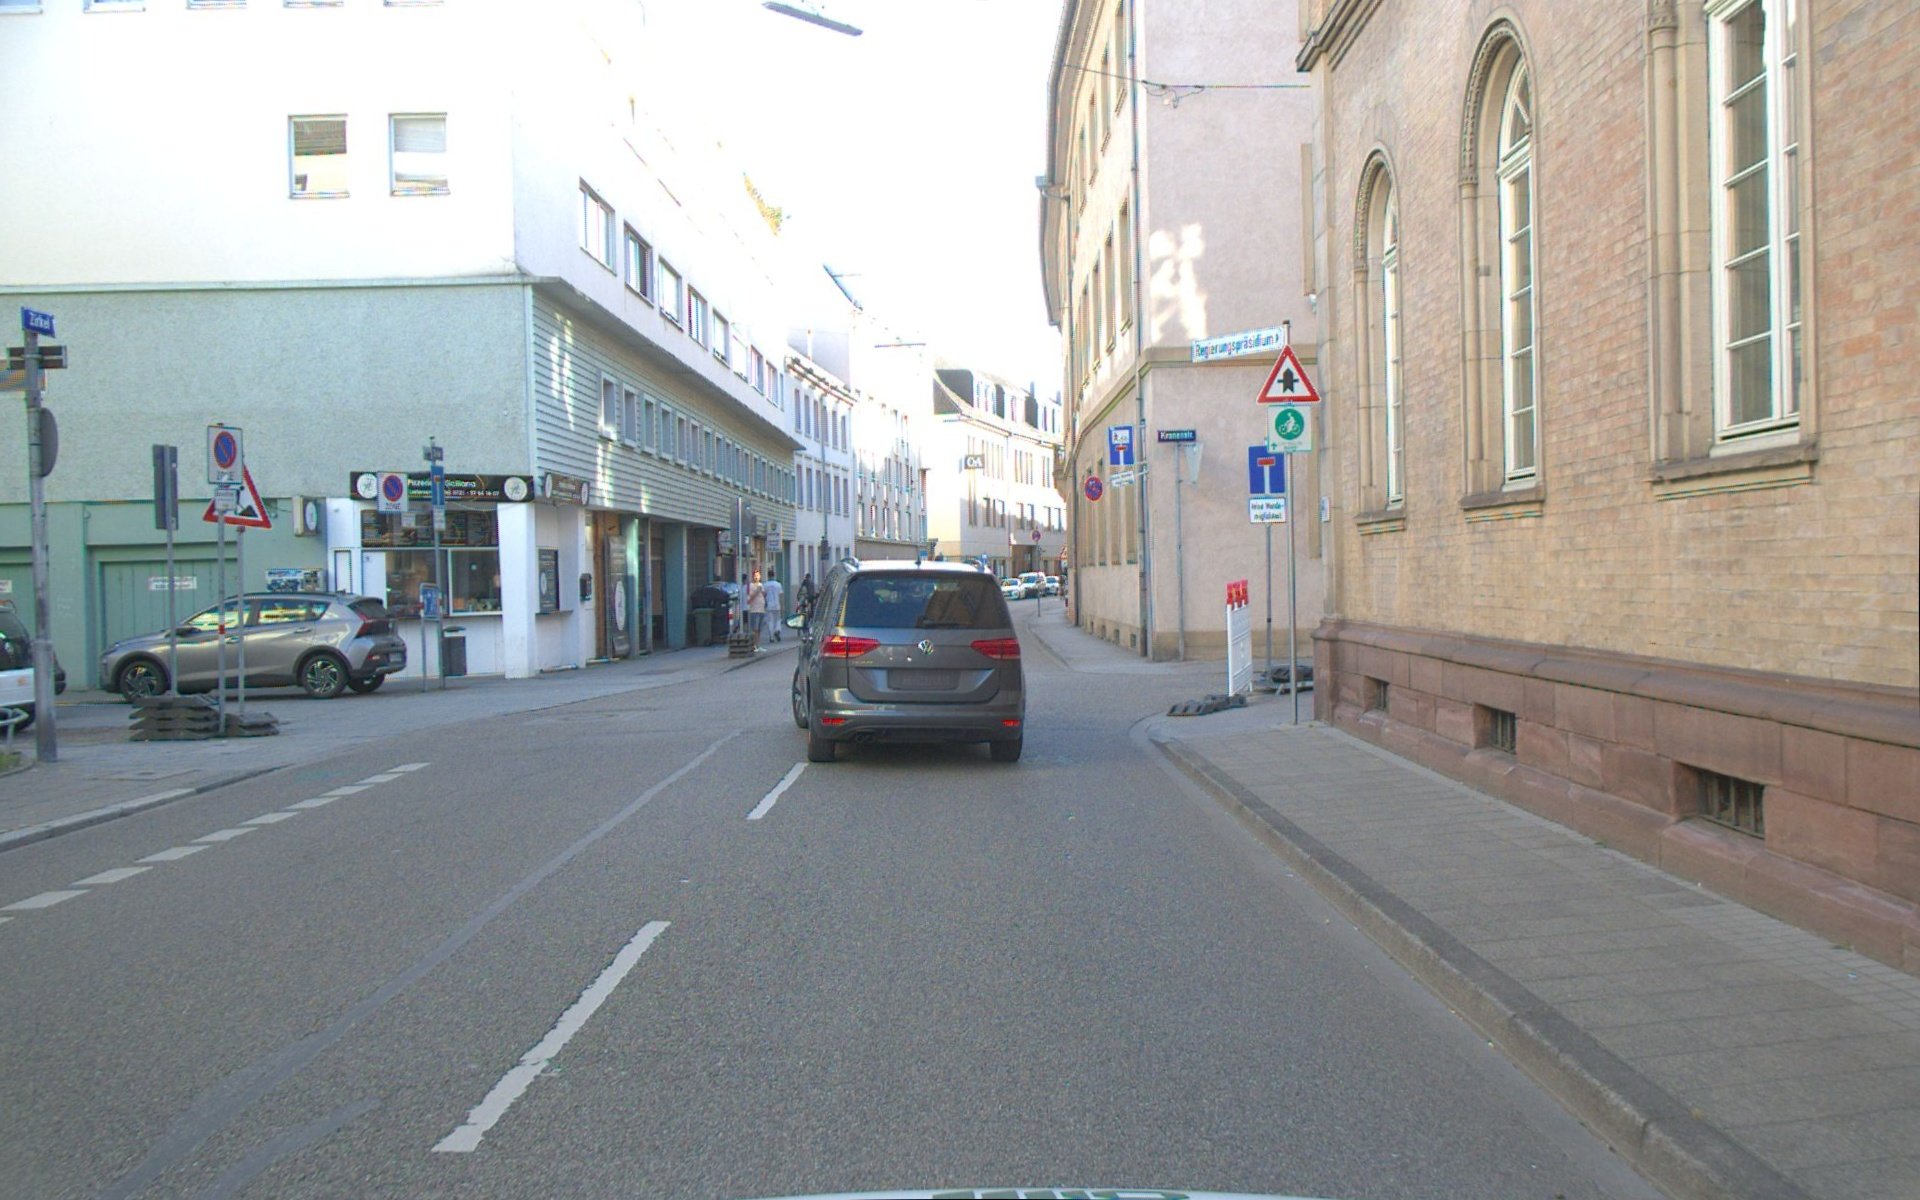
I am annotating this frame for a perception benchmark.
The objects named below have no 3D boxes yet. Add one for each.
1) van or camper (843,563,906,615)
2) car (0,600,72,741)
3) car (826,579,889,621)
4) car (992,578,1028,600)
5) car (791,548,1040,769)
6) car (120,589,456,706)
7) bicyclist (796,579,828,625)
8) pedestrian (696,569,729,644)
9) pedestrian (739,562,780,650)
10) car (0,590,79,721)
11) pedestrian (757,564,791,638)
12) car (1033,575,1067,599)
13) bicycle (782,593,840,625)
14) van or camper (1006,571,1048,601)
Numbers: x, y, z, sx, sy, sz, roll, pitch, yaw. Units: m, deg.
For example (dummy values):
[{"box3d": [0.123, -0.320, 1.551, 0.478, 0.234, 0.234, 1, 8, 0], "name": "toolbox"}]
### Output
[{"box3d": [-3.455, -0.473, 67.882, 1.951, 2.049, 4.486, -1, 1, 5], "name": "van or camper"}, {"box3d": [-11.942, 0.814, 18.072, 3.428, 1.468, 1.814, -2, 1, 1], "name": "car"}, {"box3d": [-3.816, -0.026, 62.145, 1.826, 1.494, 3.836, -1, 1, 4], "name": "car"}, {"box3d": [3.470, -0.770, 114.444, 1.697, 1.493, 4.004, -1, 1, 13], "name": "car"}, {"box3d": [-0.530, 0.423, 14.498, 1.729, 1.635, 3.993, 1, 1, -8], "name": "car"}, {"box3d": [-9.642, 0.658, 23.986, 4.014, 1.468, 1.948, -2, 1, 1], "name": "car"}, {"box3d": [-5.204, 0.053, 58.005, 0.825, 1.589, 0.749, -2, 1, -37], "name": "bicyclist"}, {"box3d": [-6.239, 0.163, 41.736, 0.713, 1.861, 0.557, -1, 0, -1], "name": "pedestrian"}, {"box3d": [-4.311, 0.118, 35.615, 0.544, 1.861, 0.730, -1, 1, 23], "name": "pedestrian"}, {"box3d": [-13.846, 0.720, 20.711, 4.518, 1.568, 2.001, -1, 1, 2], "name": "car"}, {"box3d": [-4.745, 0.013, 42.277, 0.544, 1.861, 0.730, -1, 1, 23], "name": "pedestrian"}, {"box3d": [6.901, -0.973, 126.527, 1.787, 1.756, 4.003, -1, 1, 16], "name": "car"}, {"box3d": [-5.252, 0.305, 58.063, 0.825, 1.072, 2.516, -2, 1, -36], "name": "bicycle"}, {"box3d": [4.889, -1.035, 120.201, 1.951, 2.048, 5.003, -1, 1, 15], "name": "van or camper"}]
